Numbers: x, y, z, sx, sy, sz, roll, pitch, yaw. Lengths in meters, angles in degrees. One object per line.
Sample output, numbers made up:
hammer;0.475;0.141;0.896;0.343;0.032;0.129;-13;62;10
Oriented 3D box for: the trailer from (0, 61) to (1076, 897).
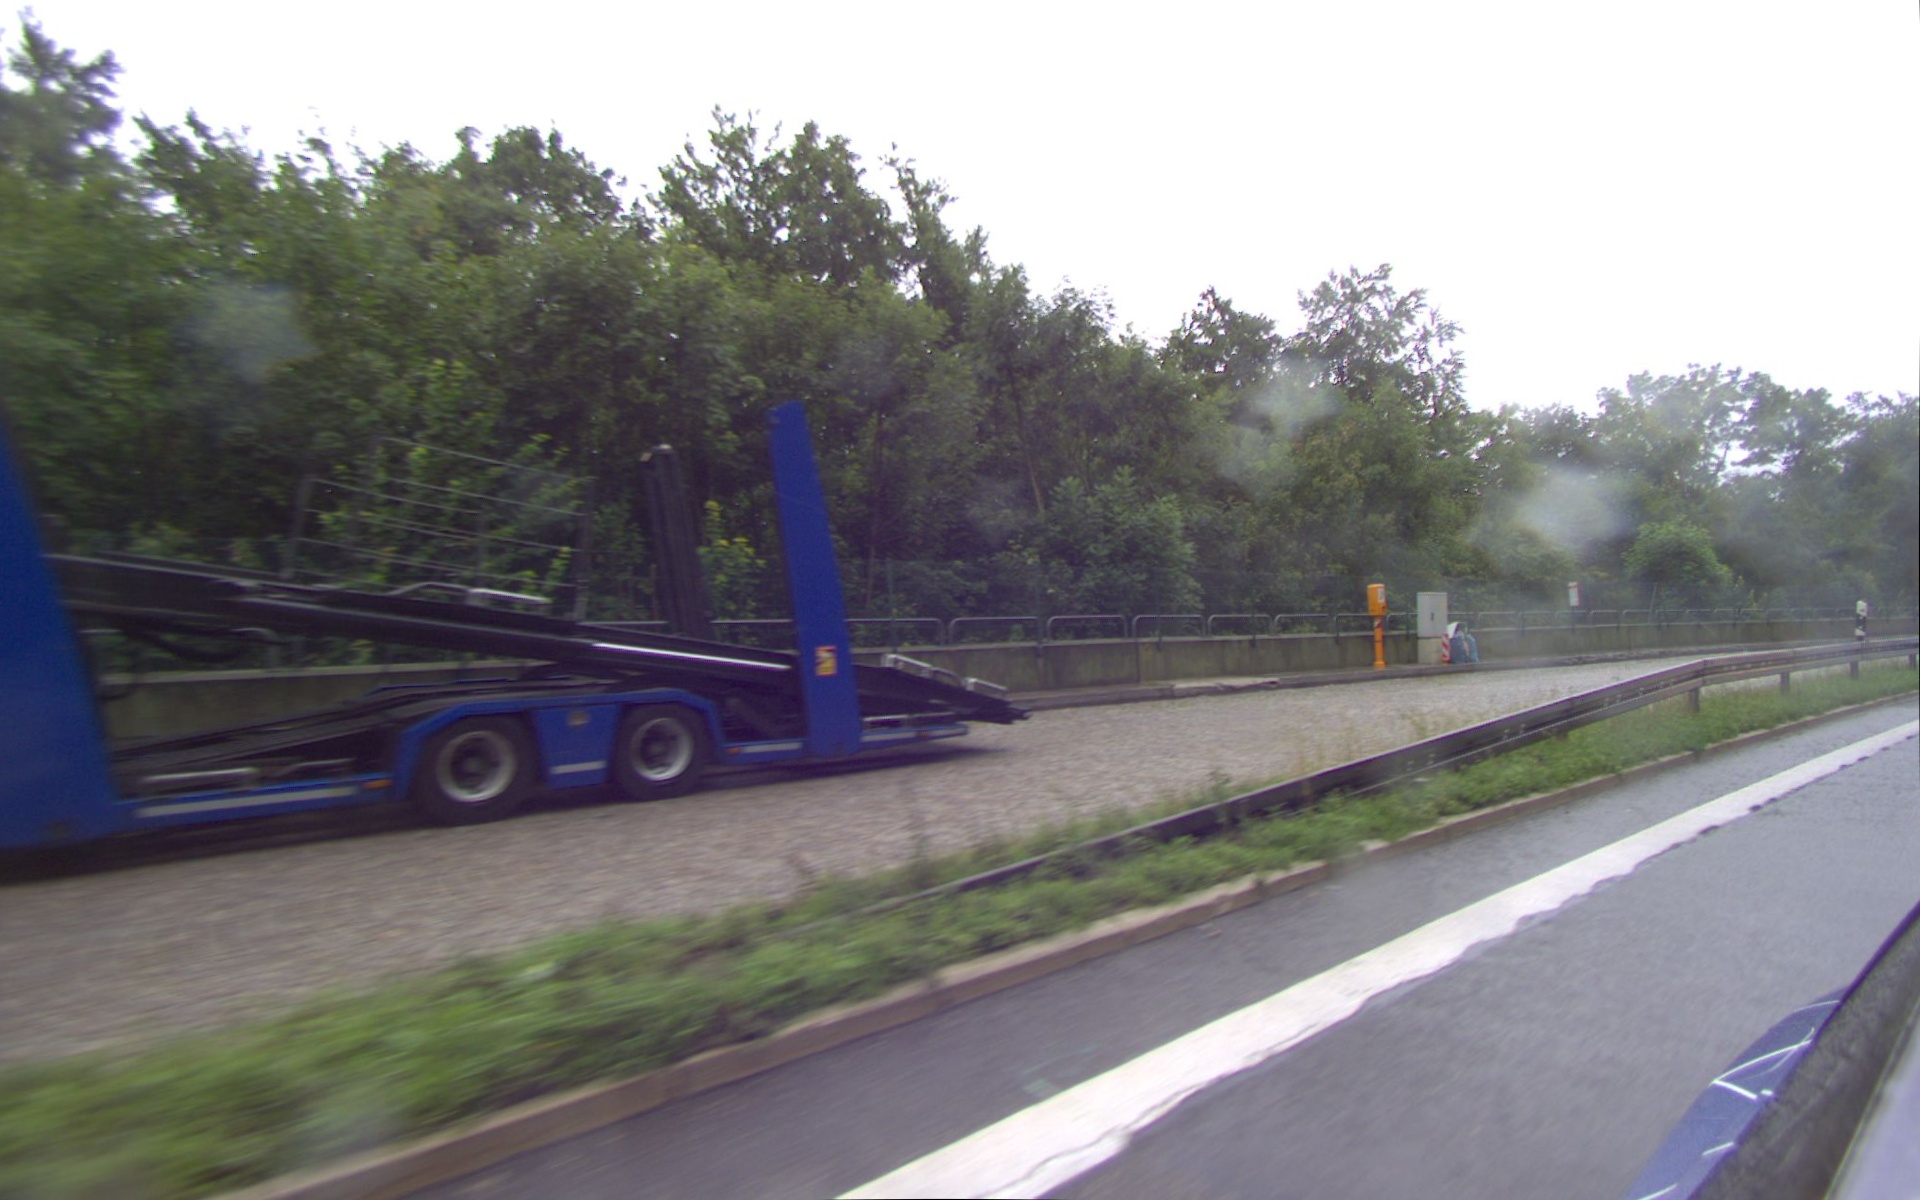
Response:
trailer;-5.164;-0.643;6.926;14.440;4.298;2.897;0;1;-41
